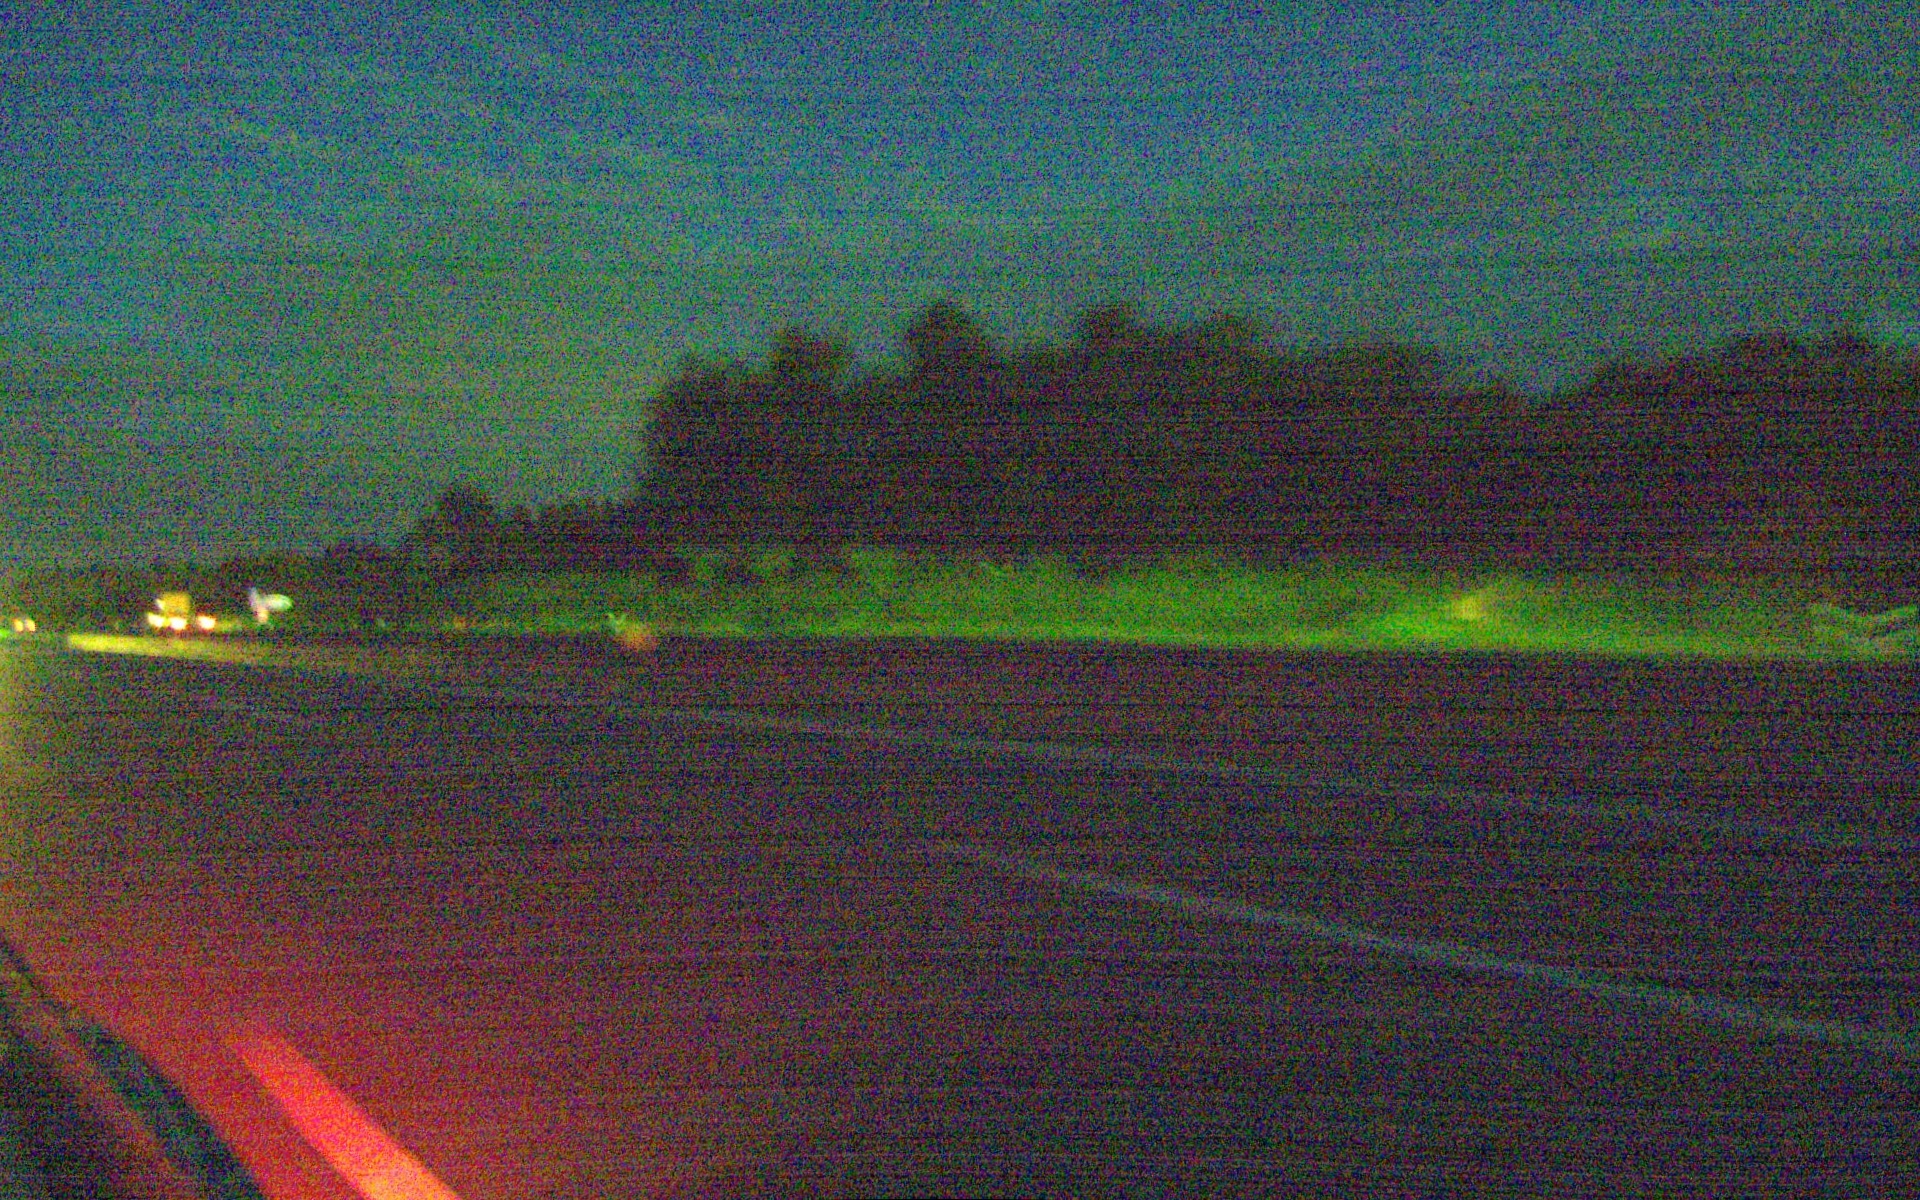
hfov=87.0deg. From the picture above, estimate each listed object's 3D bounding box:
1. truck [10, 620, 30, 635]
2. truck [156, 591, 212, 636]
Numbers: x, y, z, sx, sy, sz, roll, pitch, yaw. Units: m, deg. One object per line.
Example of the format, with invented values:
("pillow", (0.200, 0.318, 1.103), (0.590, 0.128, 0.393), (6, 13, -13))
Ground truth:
("truck", (-181.356, 5.339, 195.236), (7.624, 2.746, 2.173), (-2, 2, 43))
("truck", (-69.702, 1.216, 90.803), (9.064, 3.881, 2.492), (-2, 0, 43))
